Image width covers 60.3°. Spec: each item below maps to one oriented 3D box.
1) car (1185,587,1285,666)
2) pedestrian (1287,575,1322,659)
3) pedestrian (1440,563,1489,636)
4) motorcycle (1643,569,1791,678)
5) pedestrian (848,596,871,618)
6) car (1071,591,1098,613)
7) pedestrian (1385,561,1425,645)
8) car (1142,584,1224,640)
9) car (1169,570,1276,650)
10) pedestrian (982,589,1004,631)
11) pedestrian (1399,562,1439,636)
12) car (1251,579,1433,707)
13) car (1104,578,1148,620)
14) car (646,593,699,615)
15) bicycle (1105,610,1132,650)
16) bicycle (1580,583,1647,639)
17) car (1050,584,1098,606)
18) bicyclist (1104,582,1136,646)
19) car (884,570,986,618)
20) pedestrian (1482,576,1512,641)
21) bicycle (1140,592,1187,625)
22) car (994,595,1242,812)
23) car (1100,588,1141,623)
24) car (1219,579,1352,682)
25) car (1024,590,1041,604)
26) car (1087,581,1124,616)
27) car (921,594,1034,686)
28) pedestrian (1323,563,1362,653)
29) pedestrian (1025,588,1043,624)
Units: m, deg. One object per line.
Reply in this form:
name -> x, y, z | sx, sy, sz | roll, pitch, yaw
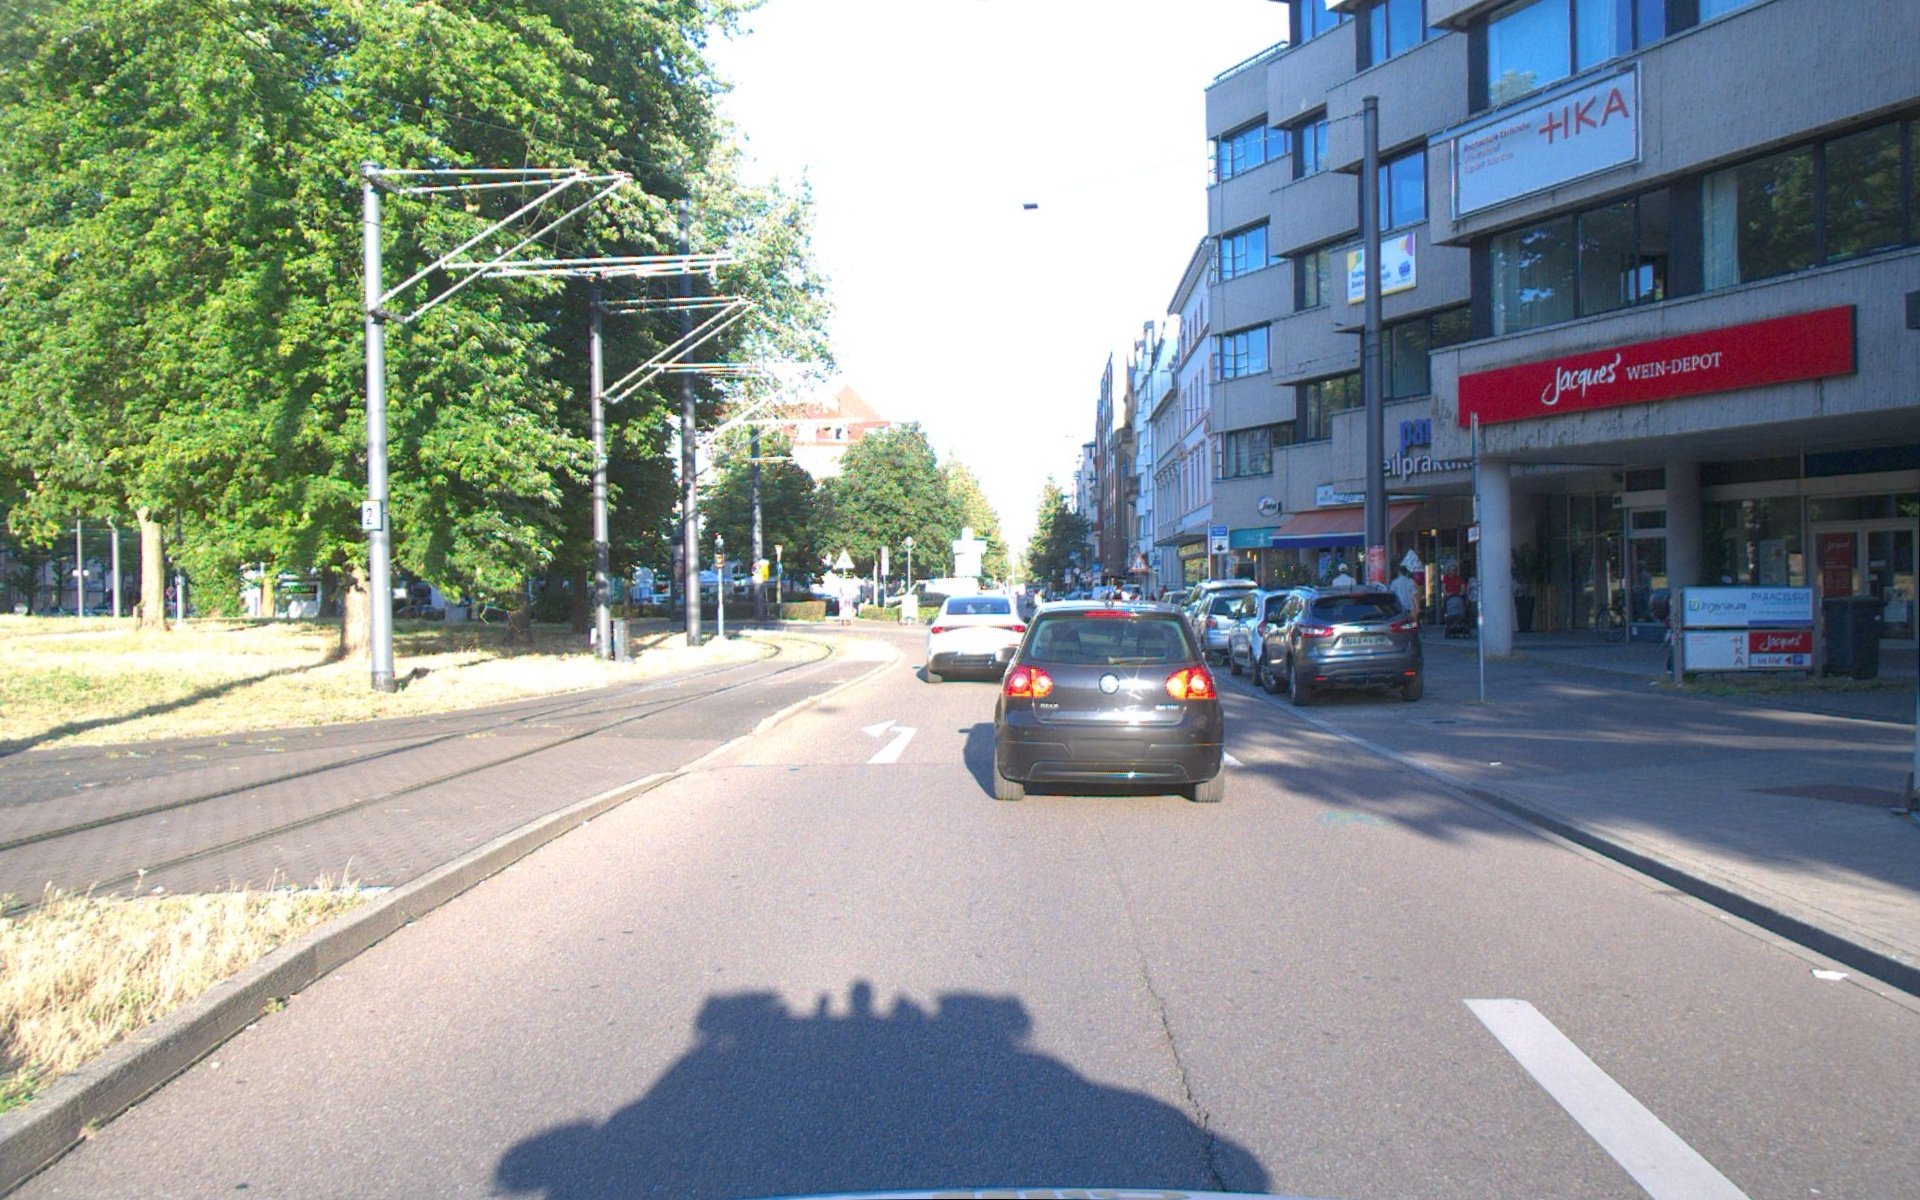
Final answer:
car -> 5.737, 0.513, 34.877 | 1.627, 1.466, 3.857 | -3, 0, 4
pedestrian -> 7.482, 0.365, 35.938 | 0.566, 1.790, 0.662 | -4, 0, 3
pedestrian -> 12.129, -0.015, 39.778 | 0.968, 1.702, 0.642 | -2, 0, 3
motorcycle -> 10.158, 0.304, 22.215 | 1.750, 1.354, 0.582 | -3, 0, -11
pedestrian -> -5.776, 0.374, 94.938 | 1.083, 1.248, 0.853 | 0, 0, -24
car -> 9.067, 0.135, 120.695 | 1.716, 1.537, 3.545 | -2, 0, 1
pedestrian -> 9.619, 0.070, 35.791 | 0.609, 1.770, 0.662 | -4, 0, 3
car -> 6.444, 0.334, 48.139 | 1.629, 1.466, 3.821 | -3, 0, -3
car -> 6.349, 0.215, 40.487 | 1.829, 1.743, 4.505 | -3, 0, 0
pedestrian -> 1.355, 0.418, 68.160 | 0.842, 1.736, 0.940 | 0, 0, -4
pedestrian -> 11.163, -0.020, 40.249 | 0.682, 1.757, 1.033 | -2, 0, 3
car -> 5.413, 0.557, 23.941 | 1.745, 1.583, 4.236 | -3, 0, 3
car -> 7.670, -0.046, 76.483 | 1.699, 1.831, 3.917 | -2, 0, 2
car -> -20.812, 0.275, 119.605 | 3.560, 1.579, 1.652 | -1, 0, -21
bicycle -> 4.111, 0.758, 43.028 | 0.567, 1.004, 1.936 | 0, 0, 2
bicycle -> 13.864, 0.231, 35.089 | 1.741, 1.091, 0.477 | -3, 1, -38
car -> 9.428, -0.409, 136.735 | 3.902, 1.803, 2.002 | -1, 1, 6
bicyclist -> 4.147, 0.362, 43.043 | 0.761, 1.646, 1.025 | 0, 0, 2
car -> -1.412, -0.354, 94.480 | 5.440, 2.640, 2.138 | -1, 0, -25
pedestrian -> 14.867, 0.221, 45.785 | 0.588, 1.790, 0.518 | 0, 0, -22
bicycle -> 7.448, 0.305, 60.623 | 1.574, 1.138, 0.610 | -3, 1, 36
car -> 1.178, 0.718, 13.558 | 1.711, 1.486, 4.104 | 0, 0, 2
car -> 7.881, 0.261, 81.657 | 1.699, 1.645, 3.917 | -2, 0, 2
car -> 5.576, 0.486, 28.704 | 1.574, 1.583, 3.611 | -3, 0, 1
car -> 8.233, -0.365, 189.119 | 1.867, 1.579, 4.001 | -1, 1, 1
car -> 8.267, -0.110, 94.271 | 1.885, 1.873, 4.019 | -2, 0, 3
car -> 0.387, 0.646, 29.265 | 1.826, 1.466, 4.198 | -1, 1, 3
pedestrian -> 8.263, 0.164, 35.778 | 0.609, 1.890, 0.662 | -4, 0, 3
pedestrian -> 3.291, 0.278, 73.587 | 0.721, 1.582, 0.632 | -1, 0, -2
